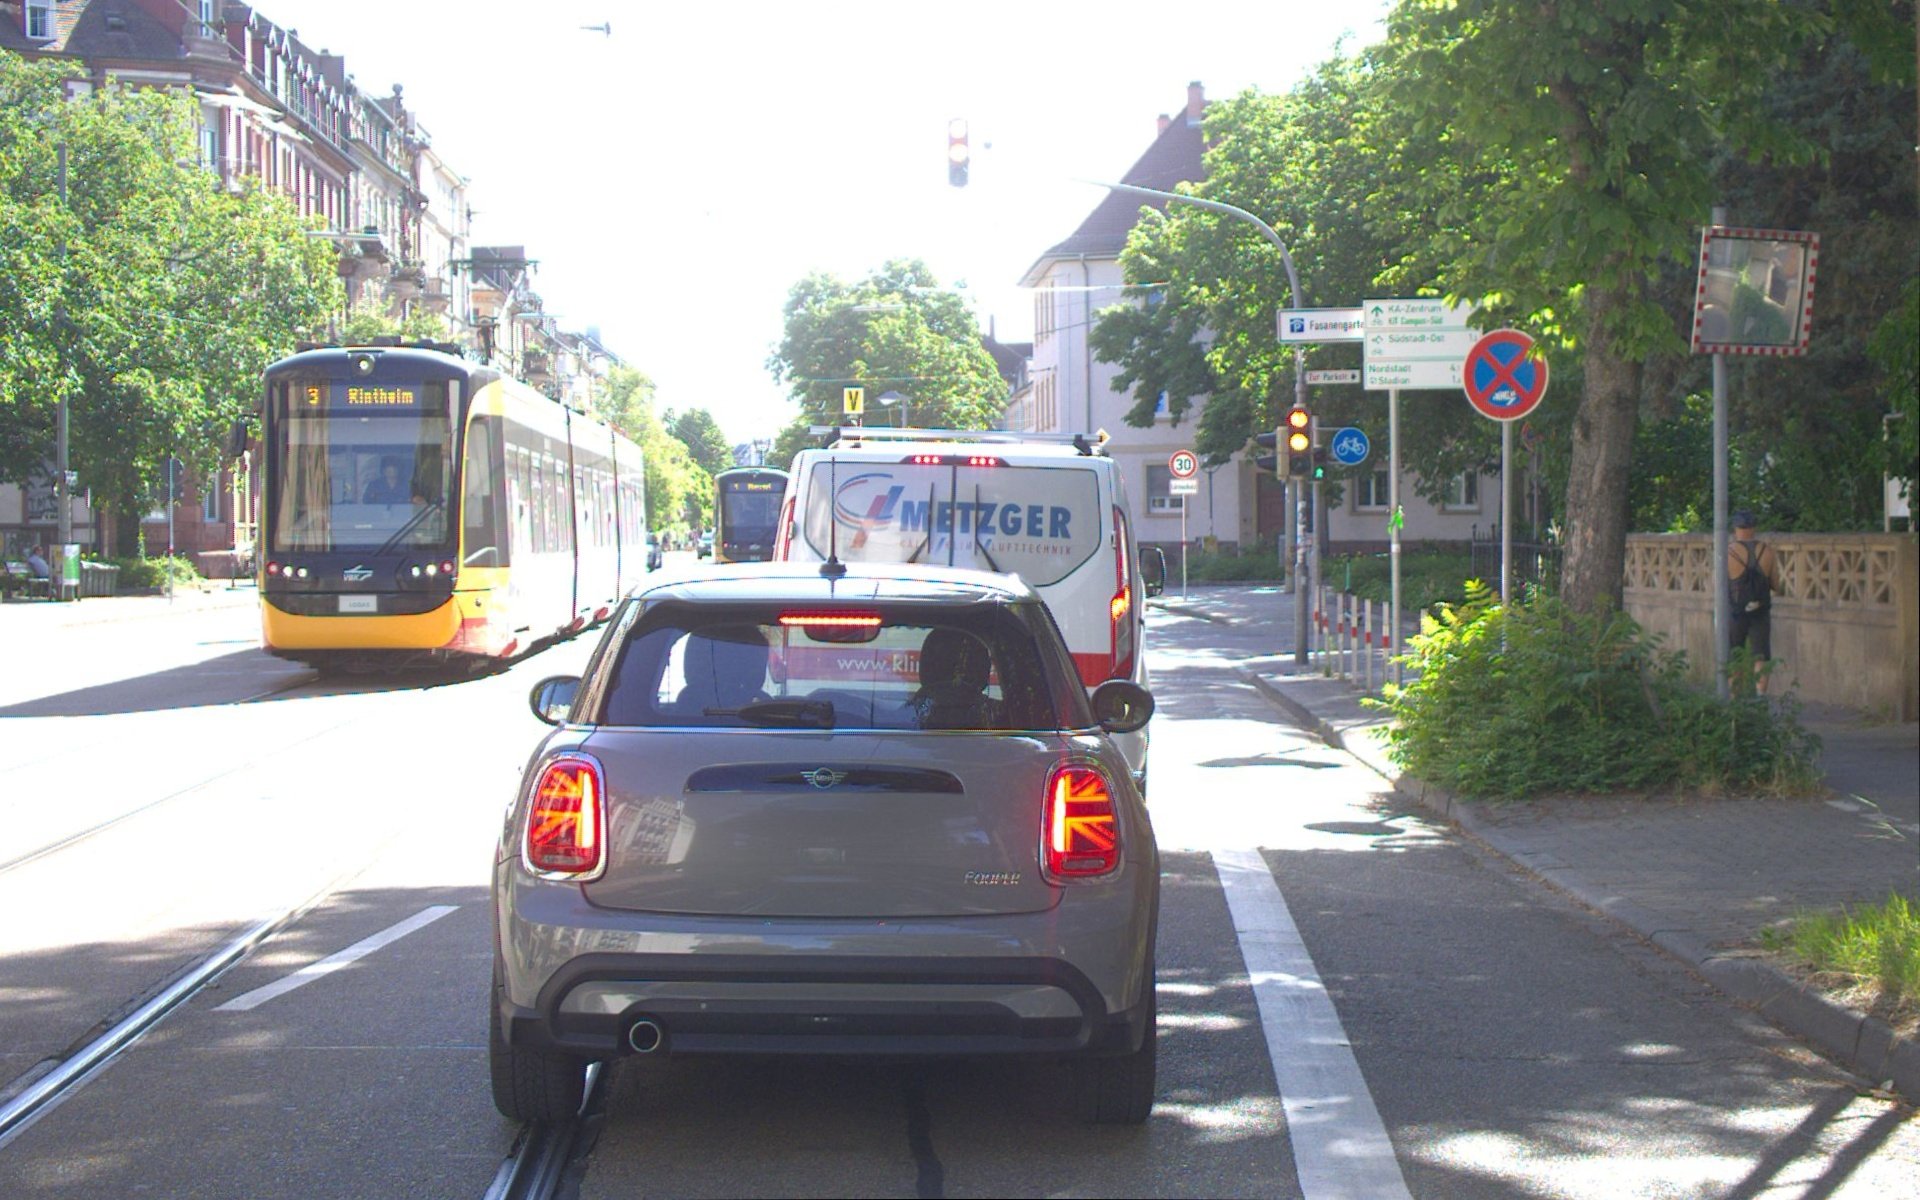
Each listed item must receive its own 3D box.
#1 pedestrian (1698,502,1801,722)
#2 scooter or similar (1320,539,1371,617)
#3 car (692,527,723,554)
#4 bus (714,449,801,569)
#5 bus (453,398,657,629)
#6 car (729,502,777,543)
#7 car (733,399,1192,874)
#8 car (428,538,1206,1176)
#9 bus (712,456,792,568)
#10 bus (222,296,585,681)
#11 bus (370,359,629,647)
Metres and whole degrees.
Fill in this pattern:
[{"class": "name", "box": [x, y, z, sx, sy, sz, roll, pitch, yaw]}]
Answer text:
[{"class": "pedestrian", "box": [6.093, 0.088, 26.555, 0.592, 1.665, 0.647, -2, 0, -1]}, {"class": "scooter or similar", "box": [6.591, -0.377, 58.819, 0.676, 1.305, 1.329, 1, 0, -1]}, {"class": "car", "box": [-15.271, -3.589, 208.020, 1.775, 1.612, 4.001, 1, 1, -4]}, {"class": "bus", "box": [-6.186, -2.693, 104.265, 2.385, 3.484, 7.385, 1, 1, -5]}, {"class": "bus", "box": [-7.198, -1.489, 62.632, 2.849, 3.764, 12.199, 1, 1, -3]}, {"class": "car", "box": [-8.287, -3.090, 137.436, 1.863, 1.558, 4.001, 1, 1, -4]}, {"class": "car", "box": [-0.016, 0.148, 18.585, 2.118, 2.200, 4.945, 1, 1, -1]}, {"class": "car", "box": [-0.360, 0.587, 10.105, 1.815, 1.483, 4.000, 1, 1, -1]}, {"class": "bus", "box": [-6.797, -2.795, 111.677, 2.385, 3.484, 7.385, 1, 1, -5]}, {"class": "bus", "box": [-6.120, -1.160, 39.695, 2.859, 3.764, 11.499, 1, 1, -3]}, {"class": "bus", "box": [-6.619, -1.340, 50.992, 2.859, 3.764, 11.185, 1, 1, -3]}]
